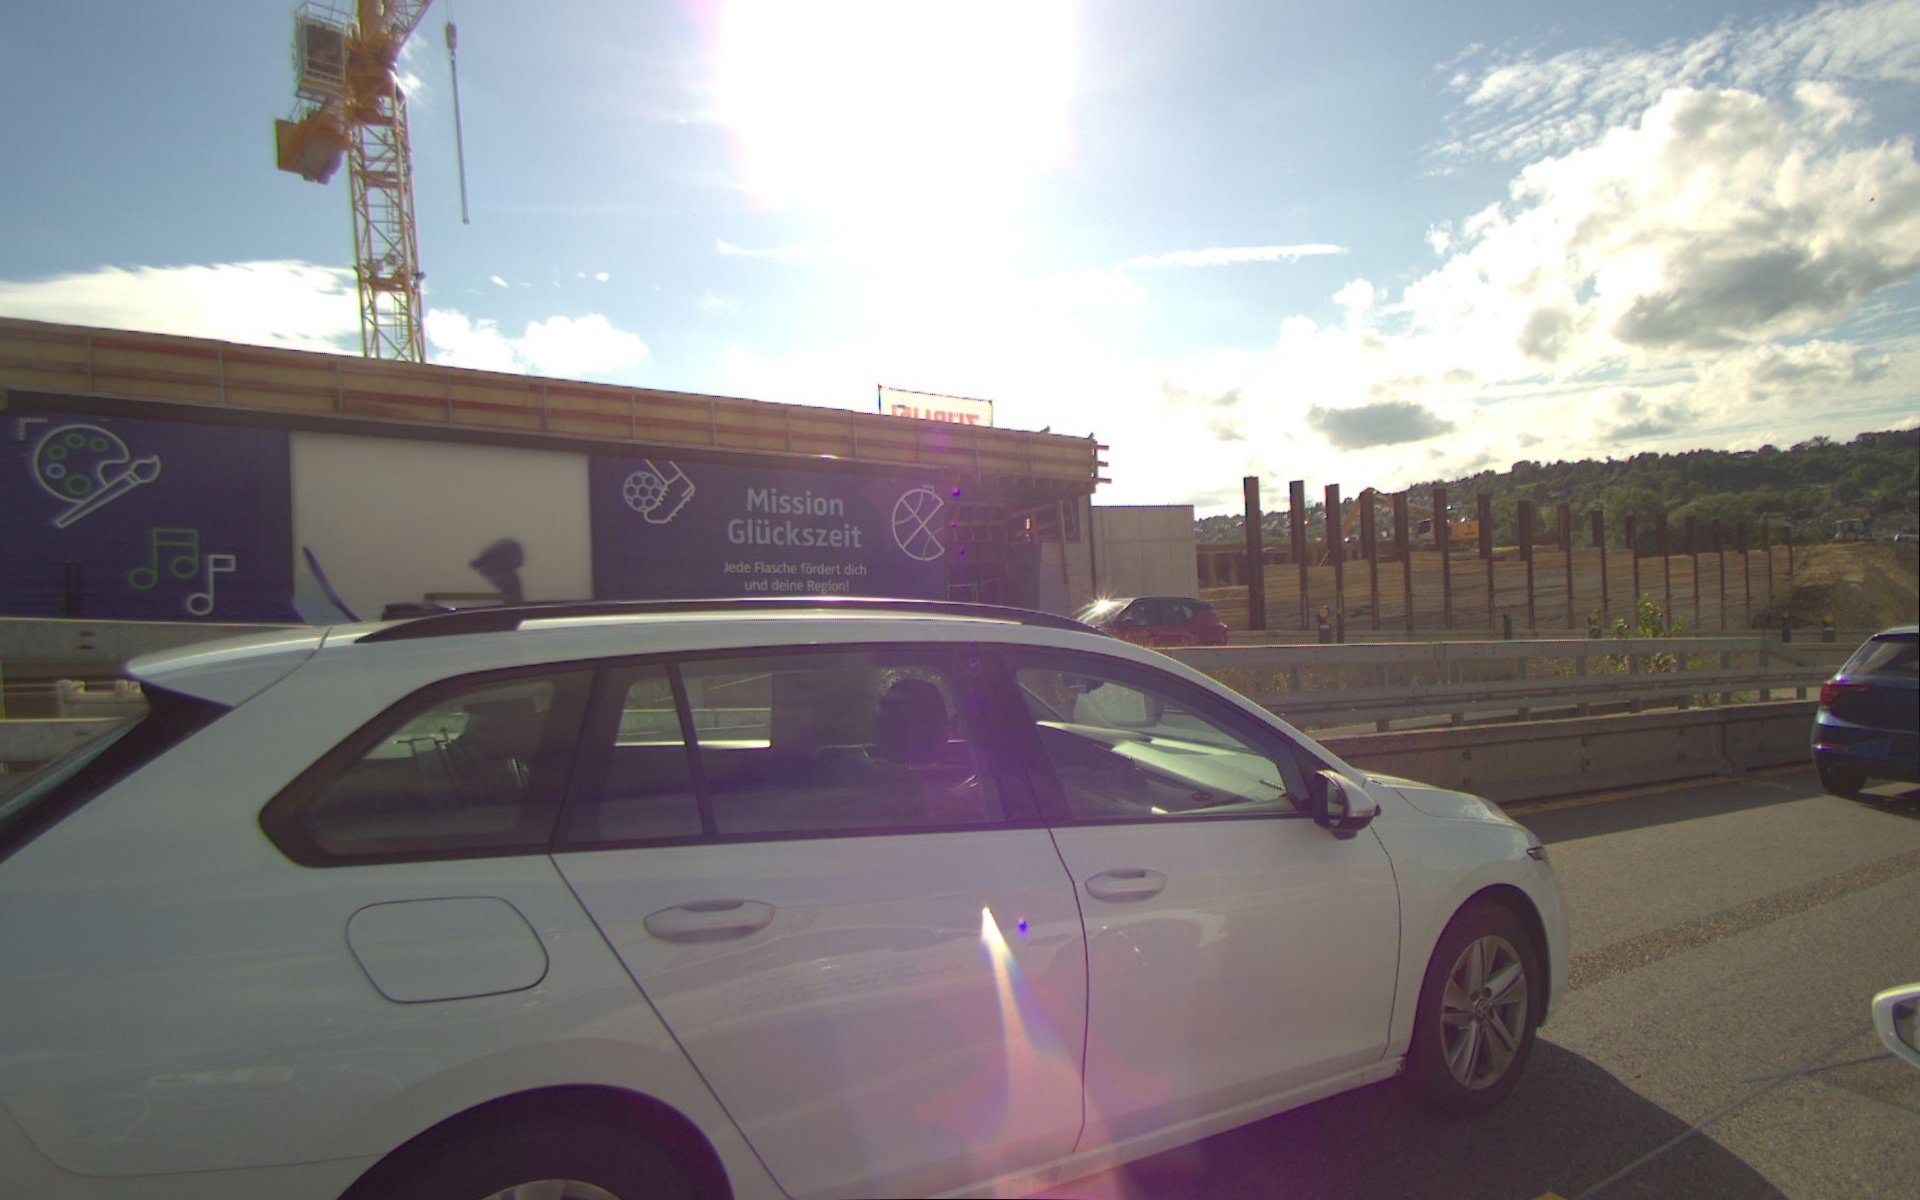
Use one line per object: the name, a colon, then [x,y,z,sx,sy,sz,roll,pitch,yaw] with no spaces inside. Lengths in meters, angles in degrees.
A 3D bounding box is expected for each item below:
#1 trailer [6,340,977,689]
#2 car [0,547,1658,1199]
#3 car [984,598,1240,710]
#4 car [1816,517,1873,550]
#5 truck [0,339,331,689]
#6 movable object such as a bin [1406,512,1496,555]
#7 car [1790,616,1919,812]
trailer: [-6.244,-0.878,16.750,13.652,4.211,2.674,2,0,-31]
car: [-0.030,0.765,2.939,4.465,1.510,1.761,2,-2,-31]
car: [2.760,0.928,18.116,4.273,1.791,1.916,2,0,-28]
car: [73.616,-5.527,83.578,5.262,2.167,1.984,2,-5,-32]
truck: [-11.952,-1.035,13.337,5.901,4.192,2.698,1,0,-31]
movable object such as a bin: [43.702,-5.847,89.599,4.441,3.314,5.740,1,0,-19]
car: [8.856,0.886,8.350,3.952,1.441,1.714,1,-1,-29]
